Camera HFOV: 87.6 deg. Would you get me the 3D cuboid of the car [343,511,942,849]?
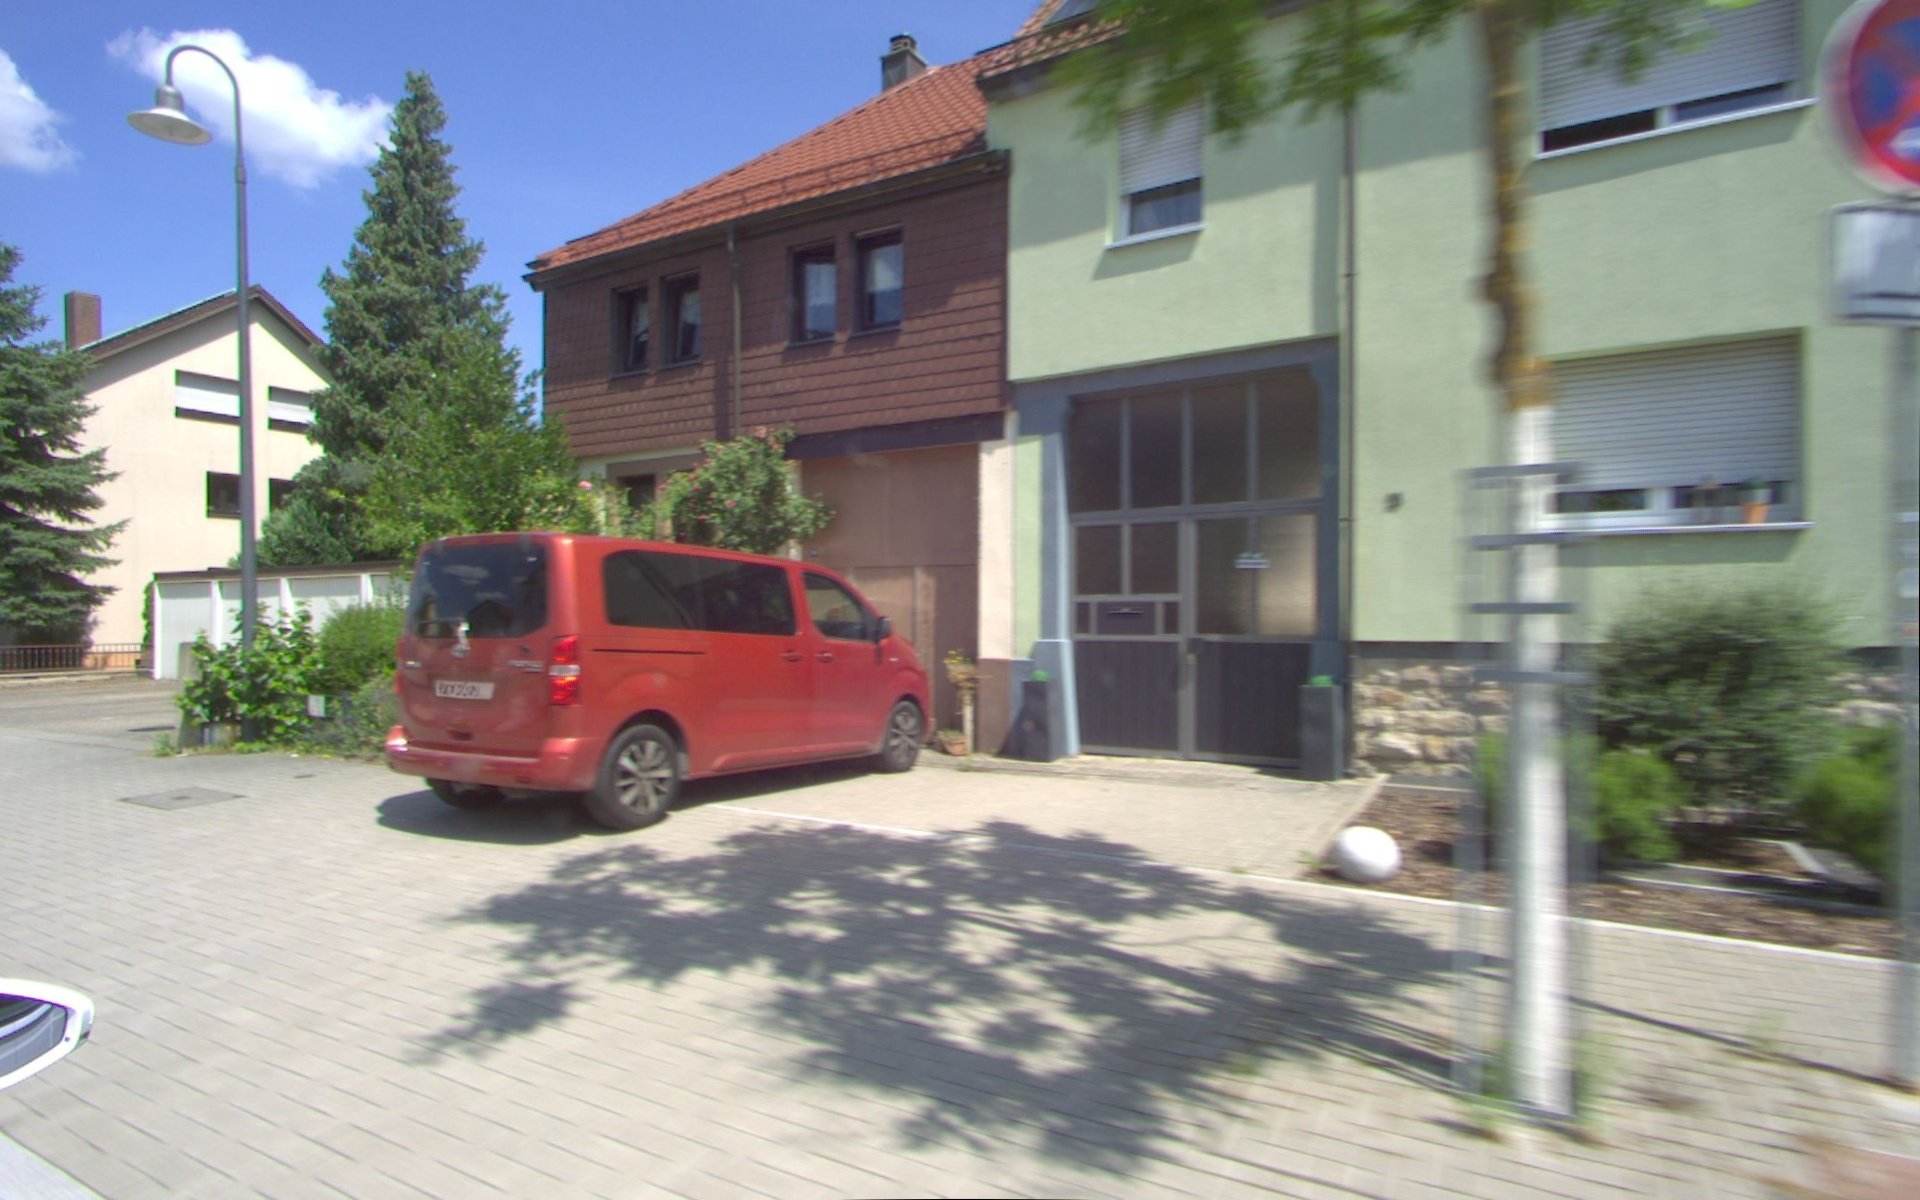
[{"bbox_3d":[-2.139,0.555,8.211,1.990,1.917,4.617,-1,-2,28],"label":"car"}]
